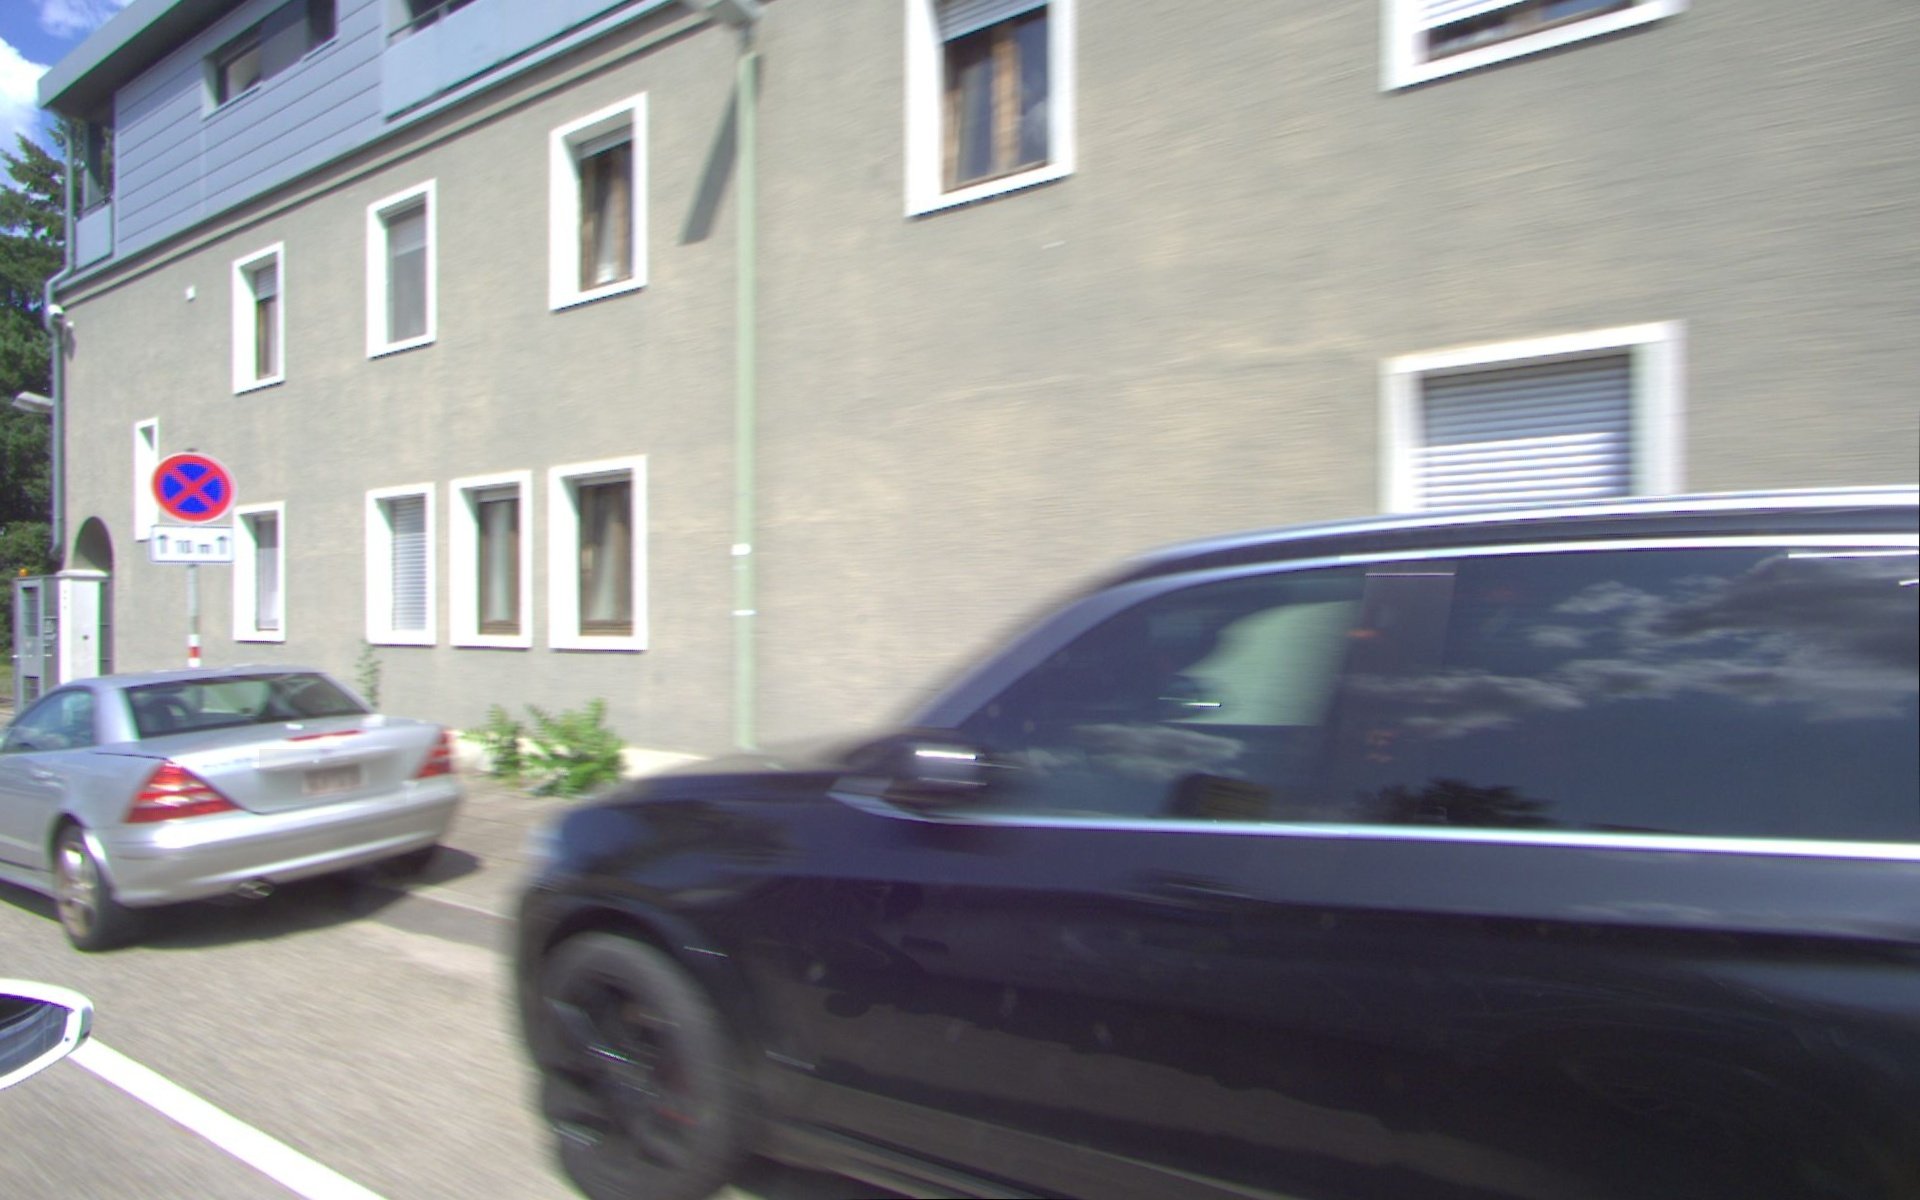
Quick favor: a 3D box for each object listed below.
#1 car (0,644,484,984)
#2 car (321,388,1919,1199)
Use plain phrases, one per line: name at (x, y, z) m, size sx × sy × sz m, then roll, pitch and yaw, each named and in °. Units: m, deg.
car at (-4.750, 0.987, 5.996) m, size 3.867 × 1.371 × 1.626 m, roll -1°, pitch -1°, yaw 32°
car at (0.576, 0.691, 2.775) m, size 4.881 × 1.803 × 1.959 m, roll -1°, pitch -3°, yaw 31°
